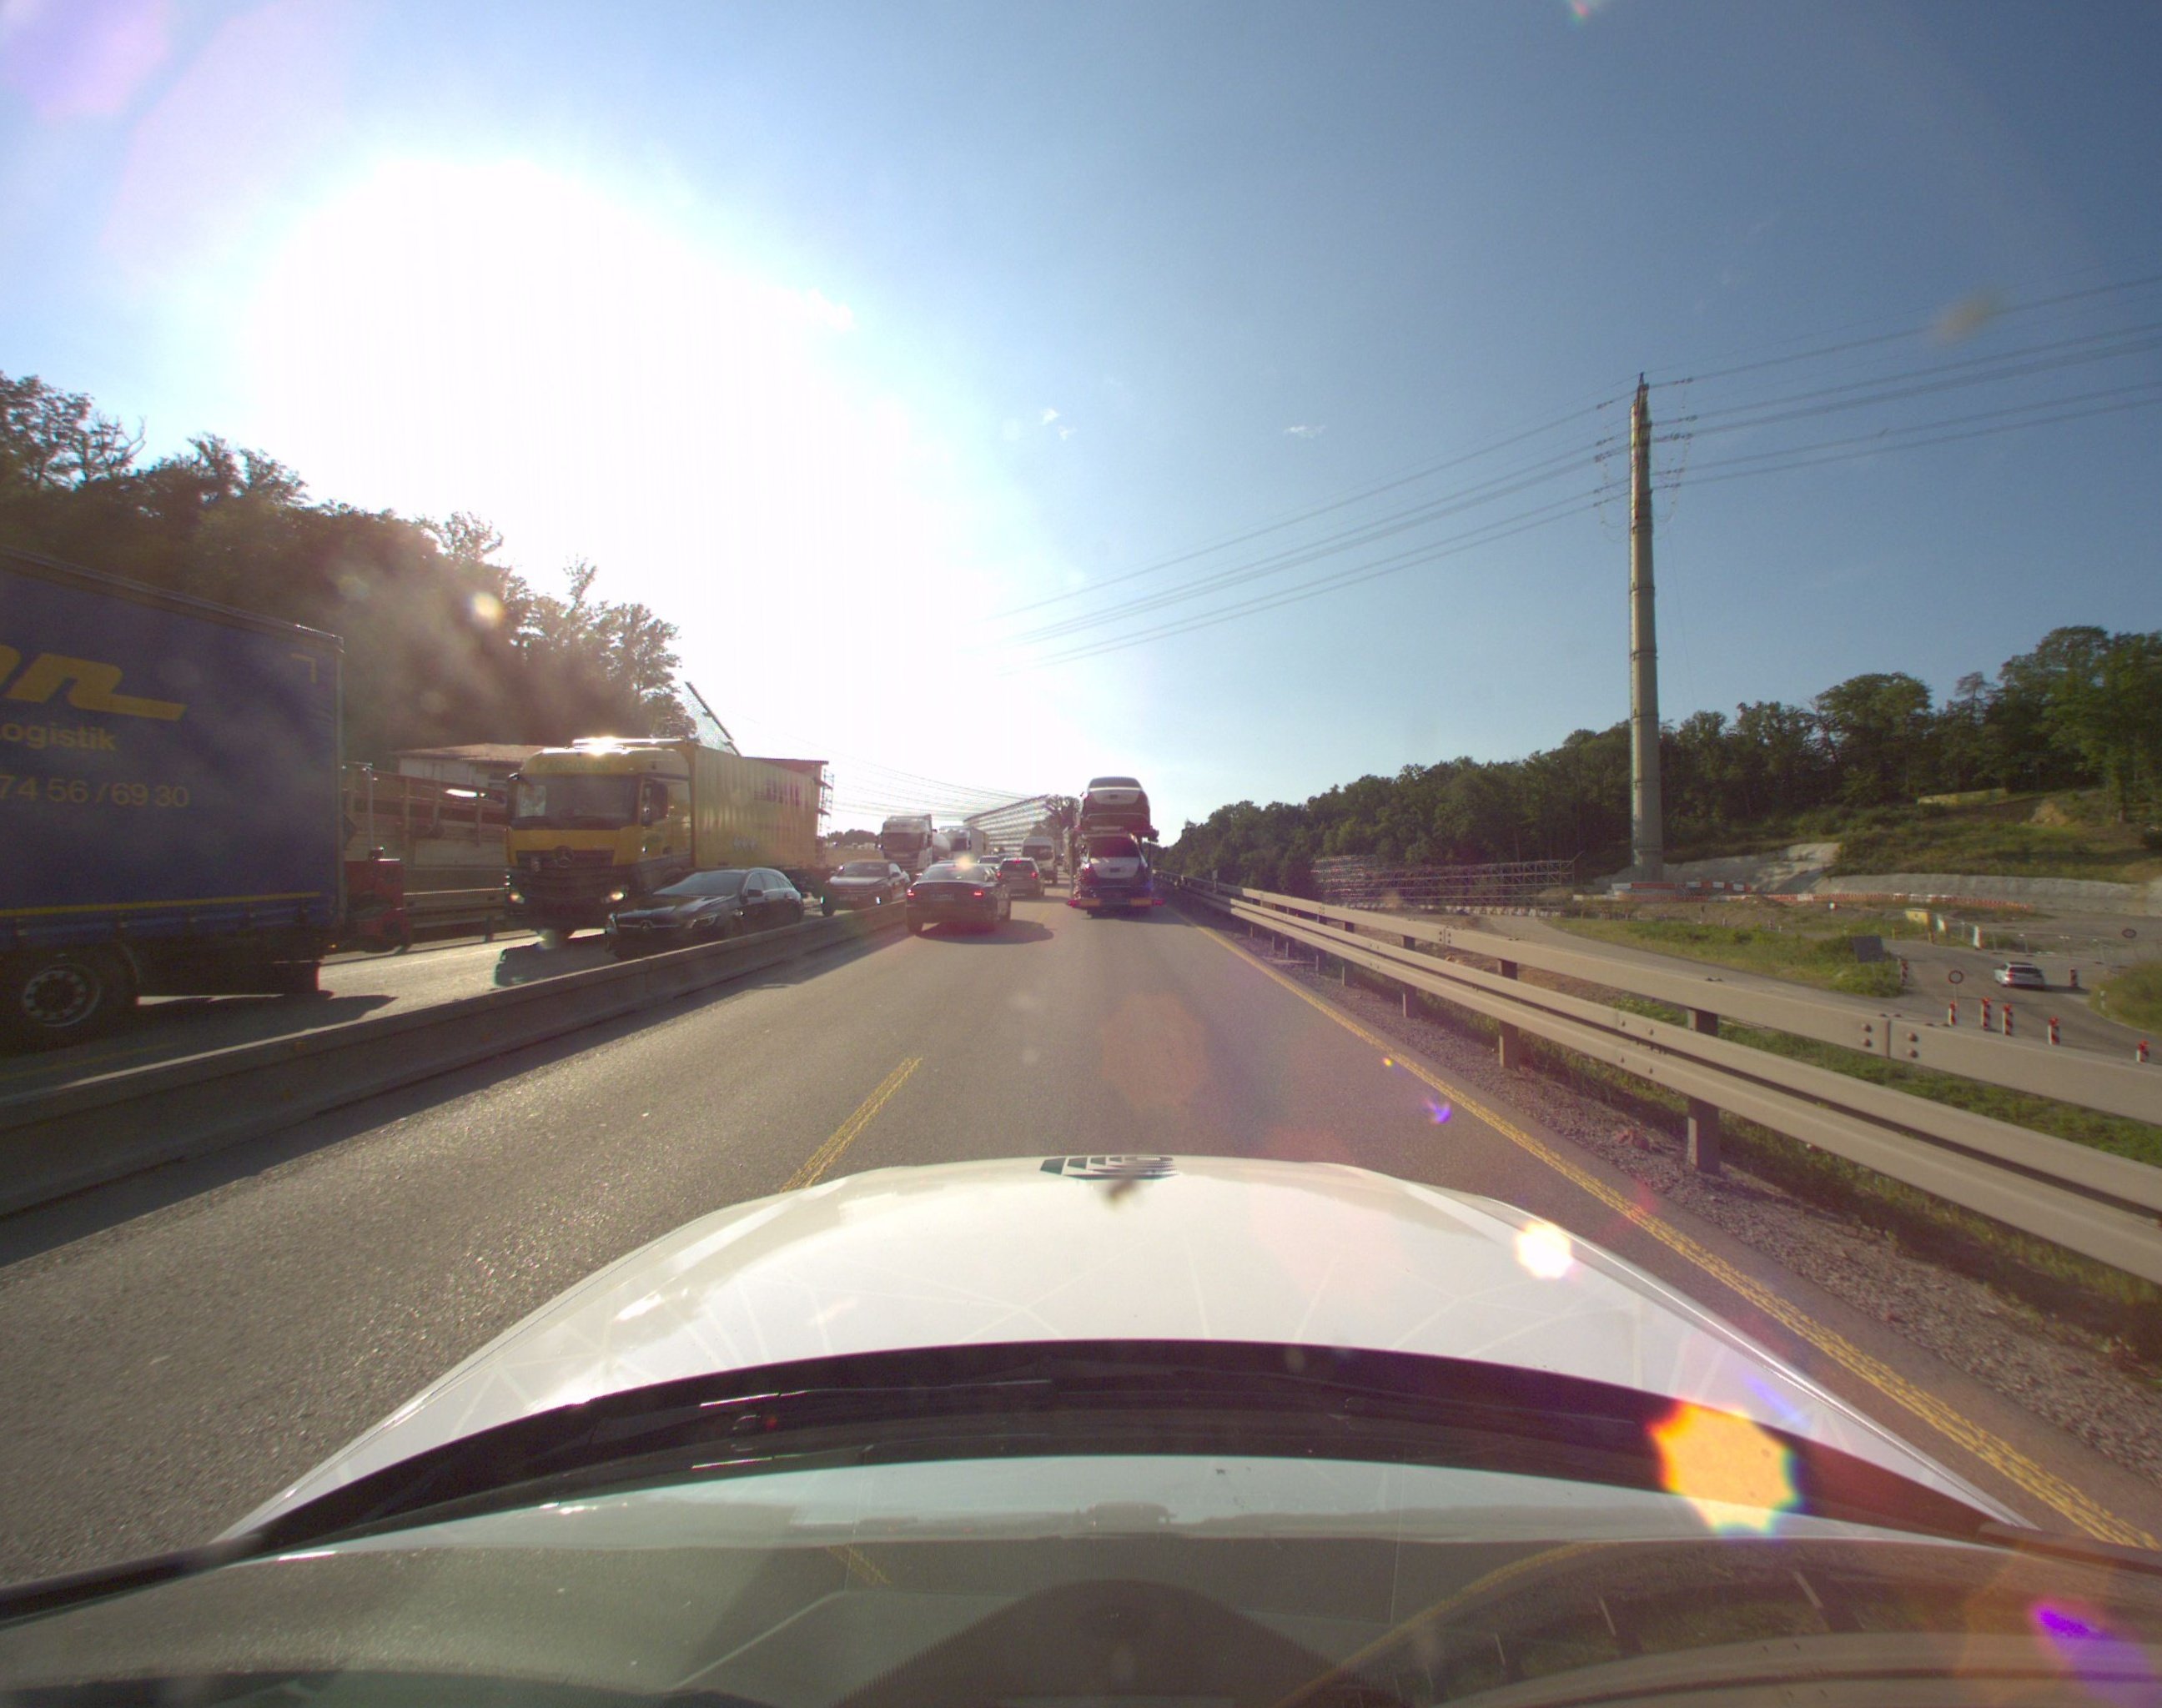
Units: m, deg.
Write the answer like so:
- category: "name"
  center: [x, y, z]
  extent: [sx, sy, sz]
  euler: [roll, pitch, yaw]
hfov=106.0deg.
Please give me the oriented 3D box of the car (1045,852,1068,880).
- category: "car"
  center: [-1.819, 0.912, 60.988]
  extent: [1.664, 1.985, 3.815]
  euler: [-1, -1, -1]

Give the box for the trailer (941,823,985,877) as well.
- category: "trailer"
  center: [-10.172, -0.171, 71.207]
  extent: [2.447, 4.266, 12.133]
  euler: [-1, -1, -2]

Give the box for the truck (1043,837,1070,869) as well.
- category: "truck"
  center: [-3.681, -0.174, 125.363]
  extent: [3.636, 4.677, 11.695]
  euler: [-1, 0, 0]

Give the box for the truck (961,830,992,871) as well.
- category: "truck"
  center: [-11.154, -0.304, 87.505]
  extent: [2.888, 4.272, 5.762]
  euler: [-1, -1, -4]

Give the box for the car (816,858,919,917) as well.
- category: "car"
  center: [-6.008, 0.928, 23.440]
  extent: [1.710, 1.508, 4.292]
  euler: [-1, -1, 1]

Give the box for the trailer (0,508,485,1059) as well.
- category: "trailer"
  center: [-9.568, -0.590, 2.501]
  extent: [2.704, 4.135, 16.756]
  euler: [-1, -1, 2]

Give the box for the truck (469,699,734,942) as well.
- category: "truck"
  center: [-9.310, -0.546, 16.417]
  extent: [2.685, 4.197, 4.397]
  euler: [-1, -1, 0]

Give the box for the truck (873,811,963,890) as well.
- category: "truck"
  center: [-9.443, -0.098, 49.240]
  extent: [2.801, 3.970, 13.883]
  euler: [3, -1, -1]

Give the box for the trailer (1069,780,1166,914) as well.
- category: "trailer"
  center: [1.169, -0.053, 32.239]
  extent: [2.865, 3.994, 15.277]
  euler: [-1, -1, 1]

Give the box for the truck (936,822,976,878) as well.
- category: "truck"
  center: [-9.976, -0.244, 65.457]
  extent: [2.438, 4.272, 6.315]
  euler: [-1, -1, -2]

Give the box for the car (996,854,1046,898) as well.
- category: "car"
  center: [-2.311, 0.868, 32.340]
  extent: [1.695, 1.587, 4.145]
  euler: [-1, -1, -1]

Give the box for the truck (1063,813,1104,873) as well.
- category: "truck"
  center: [0.128, -0.877, 70.147]
  extent: [3.219, 4.677, 11.690]
  euler: [-1, 0, -1]

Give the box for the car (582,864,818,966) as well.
- category: "car"
  center: [-6.195, 0.922, 13.961]
  extent: [1.791, 1.453, 4.616]
  euler: [0, -1, 1]

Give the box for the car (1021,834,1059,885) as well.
- category: "car"
  center: [-2.235, 0.321, 45.313]
  extent: [1.974, 2.685, 4.144]
  euler: [-1, -1, -2]

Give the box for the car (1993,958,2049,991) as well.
- category: "car"
  center: [57.970, 7.398, 50.295]
  extent: [1.511, 1.461, 4.294]
  euler: [-2, -2, 40]

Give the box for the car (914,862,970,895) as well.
- category: "car"
  center: [-6.420, 1.123, 38.193]
  extent: [1.734, 1.402, 4.902]
  euler: [-1, -1, 0]

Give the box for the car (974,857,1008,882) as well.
- category: "car"
  center: [-6.279, 1.074, 57.240]
  extent: [1.840, 1.648, 4.558]
  euler: [-2, -1, 0]

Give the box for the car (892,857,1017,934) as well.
- category: "car"
  center: [-2.712, 0.863, 18.755]
  extent: [1.933, 1.480, 5.222]
  euler: [-2, -1, 1]

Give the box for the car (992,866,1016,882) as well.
- category: "car"
  center: [-6.426, 1.639, 68.512]
  extent: [1.706, 1.253, 4.048]
  euler: [-2, -1, -2]

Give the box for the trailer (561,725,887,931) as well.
- category: "trailer"
  center: [-9.242, -0.360, 24.716]
  extent: [2.692, 4.204, 15.995]
  euler: [-1, -1, 1]

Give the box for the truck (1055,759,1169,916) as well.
- category: "truck"
  center: [0.983, -0.367, 23.850]
  extent: [2.857, 3.980, 5.777]
  euler: [-1, -1, 4]
